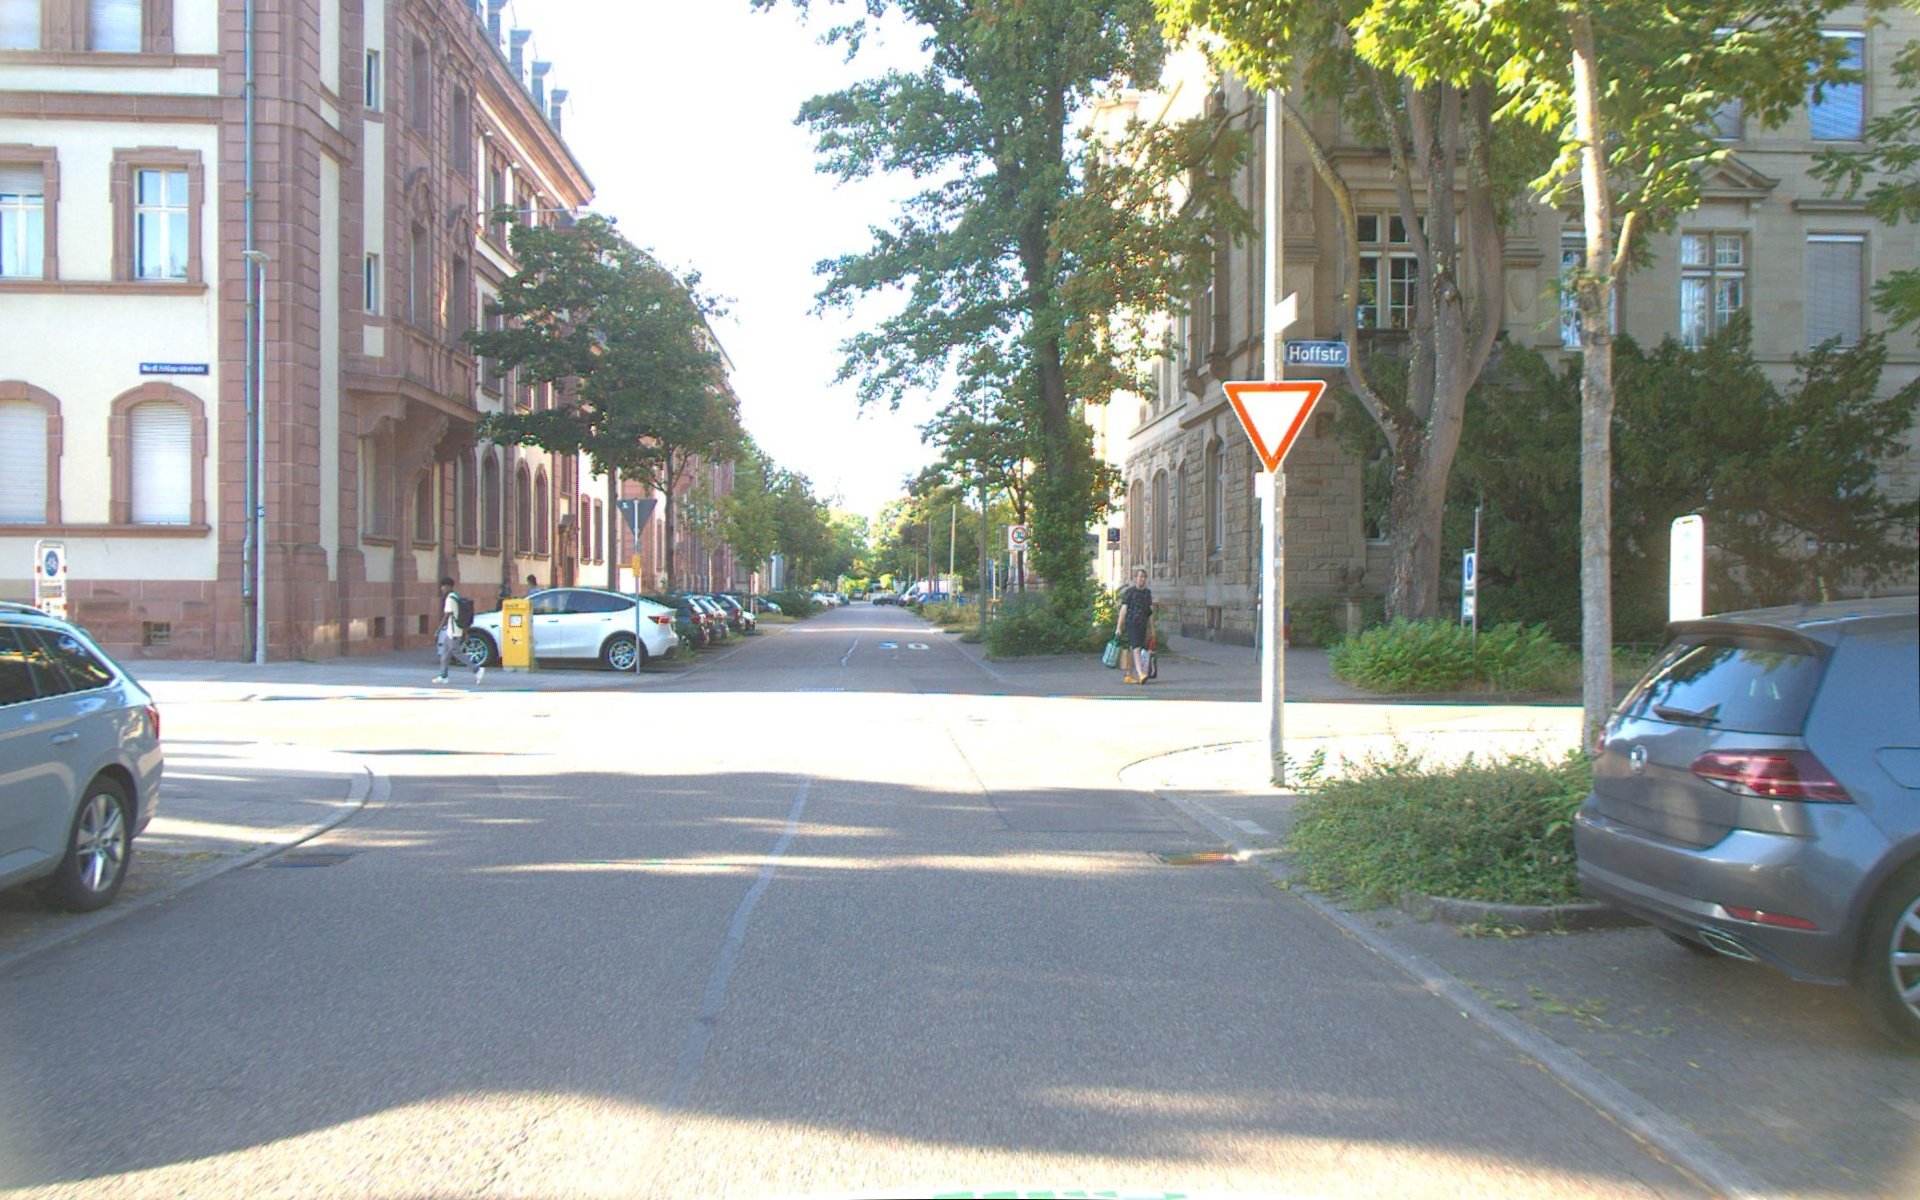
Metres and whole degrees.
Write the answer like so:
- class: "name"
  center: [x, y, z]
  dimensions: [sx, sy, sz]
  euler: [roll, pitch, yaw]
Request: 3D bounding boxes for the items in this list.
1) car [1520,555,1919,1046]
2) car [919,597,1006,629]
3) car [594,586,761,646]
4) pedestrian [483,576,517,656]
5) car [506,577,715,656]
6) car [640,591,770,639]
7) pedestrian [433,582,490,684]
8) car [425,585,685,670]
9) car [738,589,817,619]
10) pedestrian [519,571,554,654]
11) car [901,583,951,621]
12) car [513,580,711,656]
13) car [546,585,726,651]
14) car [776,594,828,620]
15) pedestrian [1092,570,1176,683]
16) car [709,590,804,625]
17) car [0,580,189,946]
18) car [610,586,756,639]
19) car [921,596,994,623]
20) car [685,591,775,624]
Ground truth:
- class: "car"
  center: [4.387, 0.645, 6.247]
  dimensions: [3.874, 1.543, 1.873]
  euler: [-1, -2, -2]
- class: "car"
  center: [0.126, 0.656, 86.025]
  dimensions: [4.395, 1.636, 1.840]
  euler: [0, 0, -5]
- class: "car"
  center: [-7.796, 0.436, 45.979]
  dimensions: [4.395, 1.636, 1.840]
  euler: [0, 0, -5]
- class: "pedestrian"
  center: [-11.591, 0.393, 41.686]
  dimensions: [0.704, 1.996, 0.786]
  euler: [0, -1, -5]
- class: "car"
  center: [-7.809, 0.358, 37.315]
  dimensions: [4.395, 1.747, 1.840]
  euler: [0, 0, -5]
- class: "car"
  center: [-8.941, 0.516, 58.206]
  dimensions: [4.395, 1.636, 1.840]
  euler: [0, 0, -5]
- class: "pedestrian"
  center: [-8.117, 0.530, 26.952]
  dimensions: [0.770, 1.634, 0.719]
  euler: [0, -1, -9]
- class: "car"
  center: [-7.907, 0.521, 32.689]
  dimensions: [4.748, 1.622, 1.840]
  euler: [0, 0, -5]
- class: "car"
  center: [-10.335, 0.234, 93.738]
  dimensions: [4.395, 1.636, 1.840]
  euler: [0, 0, -5]
- class: "pedestrian"
  center: [-10.369, 0.313, 40.502]
  dimensions: [0.771, 1.996, 0.718]
  euler: [0, -1, -11]
- class: "car"
  center: [-3.278, 0.184, 159.072]
  dimensions: [4.789, 3.681, 1.841]
  euler: [0, 0, -4]
- class: "car"
  center: [-8.213, 0.418, 39.358]
  dimensions: [4.395, 1.747, 1.840]
  euler: [0, 0, -5]
- class: "car"
  center: [-8.324, 0.460, 42.815]
  dimensions: [4.395, 1.636, 1.840]
  euler: [0, 0, -5]
- class: "car"
  center: [-13.832, 0.615, 144.990]
  dimensions: [4.493, 2.304, 1.840]
  euler: [0, 0, -5]
- class: "pedestrian"
  center: [2.967, 0.441, 28.194]
  dimensions: [1.051, 1.890, 0.990]
  euler: [0, 0, -34]
- class: "car"
  center: [-9.715, 0.348, 79.251]
  dimensions: [4.395, 1.636, 1.840]
  euler: [0, 0, -5]
- class: "car"
  center: [-4.872, 0.679, 6.448]
  dimensions: [1.745, 1.531, 4.551]
  euler: [0, 0, -2]
- class: "car"
  center: [-8.733, 0.381, 52.413]
  dimensions: [4.395, 1.636, 1.840]
  euler: [0, 0, -5]
- class: "car"
  center: [-0.165, 0.594, 103.673]
  dimensions: [4.493, 1.636, 1.840]
  euler: [0, 0, -5]
- class: "car"
  center: [-11.633, 0.351, 83.710]
  dimensions: [4.395, 1.636, 1.840]
  euler: [0, 0, -5]
